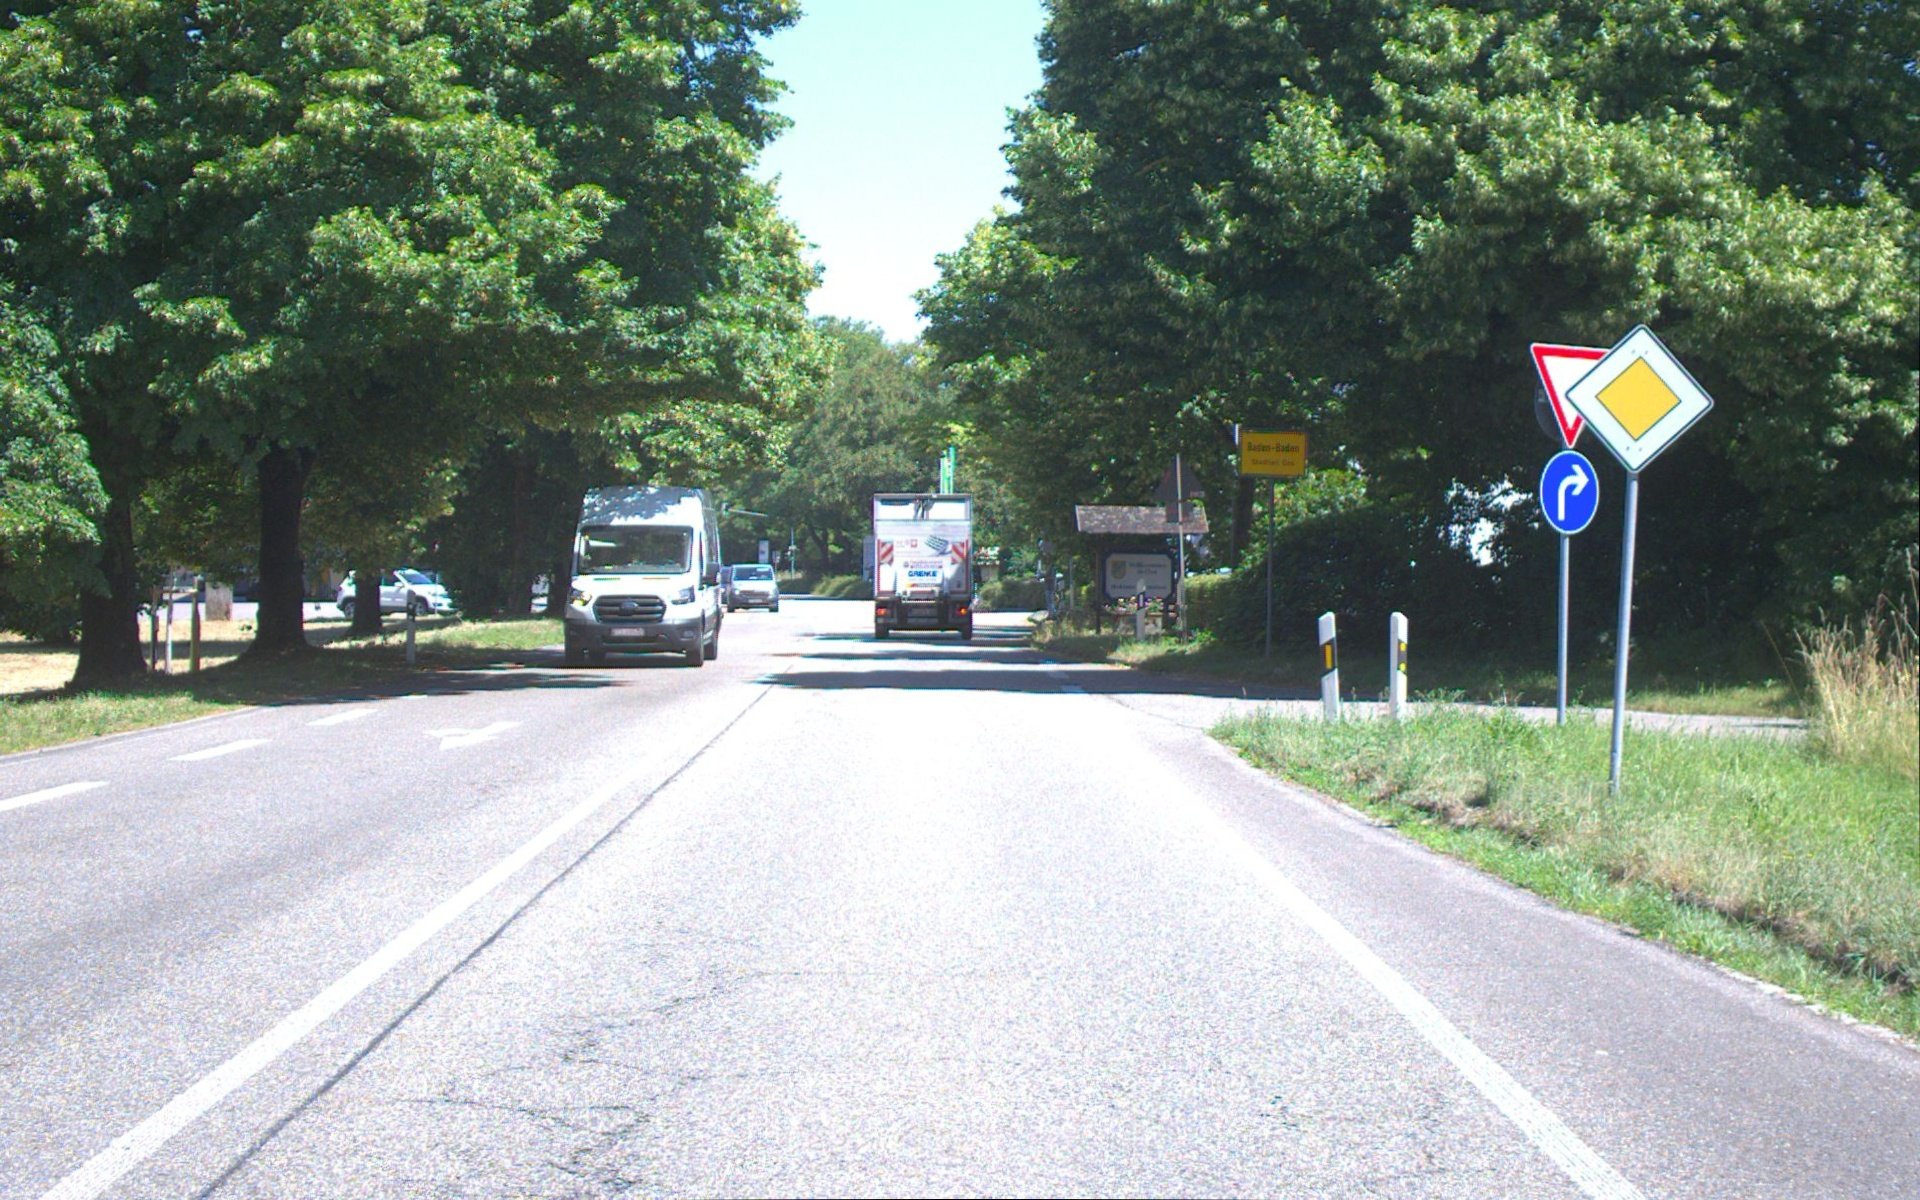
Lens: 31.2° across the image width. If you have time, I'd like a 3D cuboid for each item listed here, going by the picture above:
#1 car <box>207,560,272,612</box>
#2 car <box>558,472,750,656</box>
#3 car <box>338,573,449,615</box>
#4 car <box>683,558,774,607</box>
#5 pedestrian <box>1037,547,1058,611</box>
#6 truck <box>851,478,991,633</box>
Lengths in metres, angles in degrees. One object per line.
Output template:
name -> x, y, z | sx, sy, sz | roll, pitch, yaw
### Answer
car -> -22.624, -0.450, 107.893 | 1.735, 1.579, 4.001 | 0, 0, -15
car -> -4.565, -0.537, 52.283 | 2.073, 2.618, 6.783 | 0, 0, 2
car -> -18.362, -0.198, 111.418 | 3.428, 1.357, 1.333 | 0, 0, 28
car -> -8.920, -0.671, 132.044 | 1.993, 1.851, 5.317 | 0, 0, -21
pedestrian -> 2.413, -0.575, 94.539 | 0.548, 1.770, 0.577 | 0, 0, 4
truck -> -0.763, -0.962, 72.119 | 2.534, 3.124, 5.360 | 0, 1, 4
